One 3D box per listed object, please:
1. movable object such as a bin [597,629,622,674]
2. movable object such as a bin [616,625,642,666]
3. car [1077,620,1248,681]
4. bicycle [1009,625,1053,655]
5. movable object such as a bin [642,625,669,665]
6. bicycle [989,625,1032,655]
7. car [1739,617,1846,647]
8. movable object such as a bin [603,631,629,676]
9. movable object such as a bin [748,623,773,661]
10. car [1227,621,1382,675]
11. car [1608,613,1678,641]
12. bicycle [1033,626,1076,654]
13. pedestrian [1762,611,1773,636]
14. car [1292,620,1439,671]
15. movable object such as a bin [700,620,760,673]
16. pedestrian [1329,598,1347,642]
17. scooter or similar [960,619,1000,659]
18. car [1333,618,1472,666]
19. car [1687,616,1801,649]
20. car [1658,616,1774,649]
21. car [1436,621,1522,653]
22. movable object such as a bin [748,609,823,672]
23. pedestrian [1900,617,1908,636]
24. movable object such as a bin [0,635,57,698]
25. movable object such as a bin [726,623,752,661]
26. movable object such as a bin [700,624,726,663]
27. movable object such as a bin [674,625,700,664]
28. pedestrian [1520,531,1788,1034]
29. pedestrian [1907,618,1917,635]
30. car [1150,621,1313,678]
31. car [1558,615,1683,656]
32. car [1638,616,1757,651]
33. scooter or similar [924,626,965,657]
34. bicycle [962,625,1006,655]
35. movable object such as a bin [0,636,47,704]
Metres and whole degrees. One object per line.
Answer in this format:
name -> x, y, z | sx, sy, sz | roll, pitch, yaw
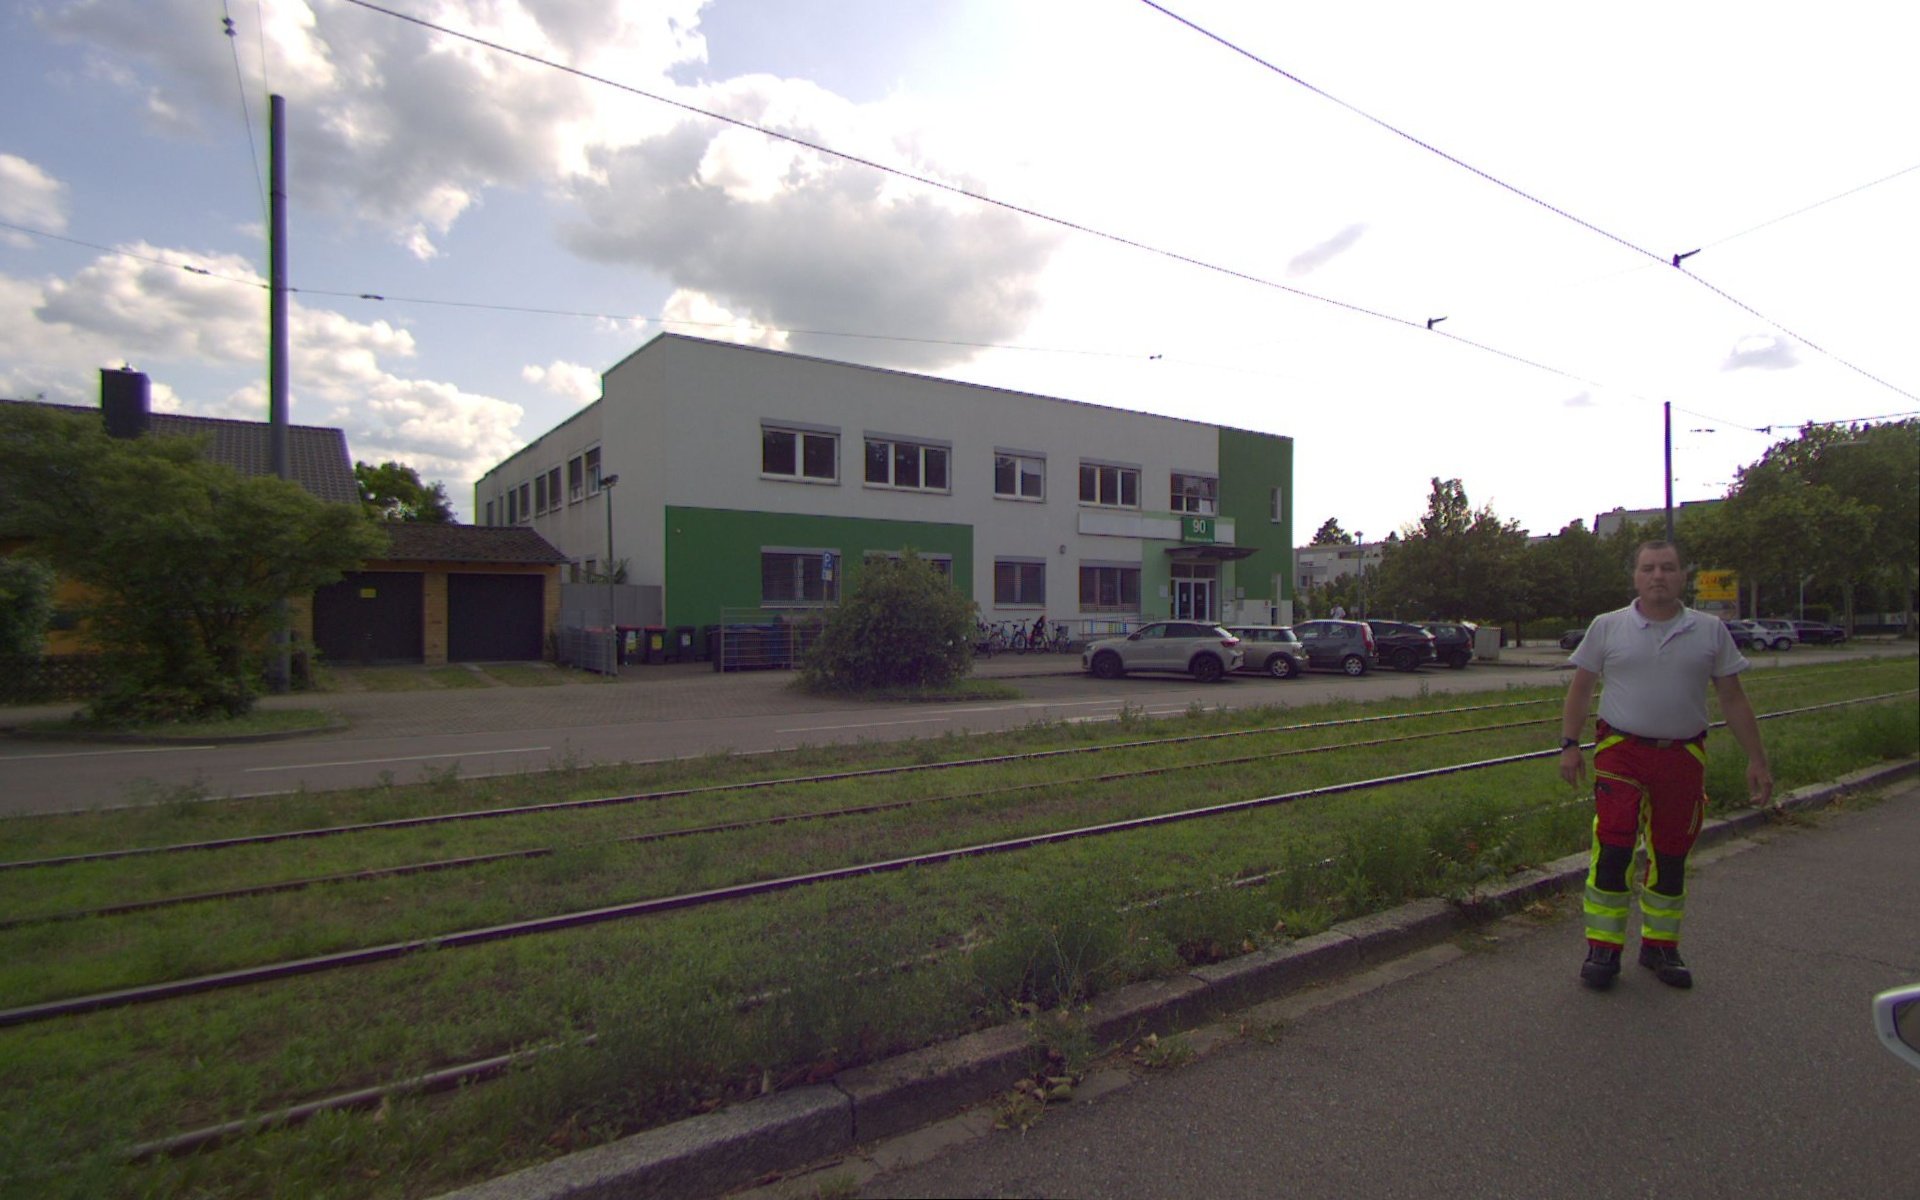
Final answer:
movable object such as a bin -> -8.690, 1.274, 24.930 | 0.474, 1.056, 0.490 | -1, 2, -35
movable object such as a bin -> -8.988, 1.220, 27.277 | 0.558, 1.056, 0.564 | -1, 2, -34
car -> 5.339, 1.281, 26.458 | 4.153, 1.501, 1.883 | -1, -1, 21
bicycle -> 2.437, 1.377, 34.810 | 0.454, 0.911, 1.846 | 1, 0, -34
movable object such as a bin -> -8.404, 1.246, 27.716 | 0.558, 1.056, 0.564 | -1, 2, -34
bicycle -> 1.706, 1.354, 34.301 | 0.454, 0.911, 1.846 | 1, 0, -34
car -> 46.195, 1.747, 55.835 | 4.150, 1.502, 1.884 | 1, 0, 16
movable object such as a bin -> -8.382, 1.294, 24.467 | 0.477, 1.056, 0.501 | -1, 2, -35
movable object such as a bin -> -5.861, 1.226, 29.453 | 0.558, 1.056, 0.564 | -1, 2, -34
car -> 10.226, 1.379, 29.808 | 4.156, 1.501, 1.881 | -1, -1, 26
car -> 47.683, 1.877, 70.217 | 1.961, 1.773, 3.998 | 1, 1, -3
bicycle -> 3.316, 1.395, 35.378 | 0.454, 0.911, 1.846 | 1, 0, -34
pedestrian -> 54.064, 1.568, 67.236 | 0.597, 1.699, 0.462 | 0, -1, -37
car -> 12.740, 1.381, 31.538 | 4.156, 1.501, 1.881 | -1, -1, 26
movable object such as a bin -> -5.864, 1.173, 25.622 | 1.242, 1.251, 1.000 | -1, 2, -33
pedestrian -> 16.302, 0.863, 43.336 | 0.504, 1.852, 0.542 | 0, -1, -37
scooter or similar -> 0.606, 1.208, 31.541 | 1.073, 1.171, 1.305 | 2, 0, -6
car -> 14.816, 1.382, 33.716 | 4.156, 1.501, 1.881 | -1, -1, 26
car -> 39.680, 1.616, 50.972 | 4.151, 1.502, 1.883 | 1, 0, 20
car -> 37.112, 1.567, 49.446 | 4.151, 1.502, 1.883 | 1, 0, 20
car -> 29.132, 2.046, 56.463 | 1.758, 1.586, 3.965 | 2, 0, -32
movable object such as a bin -> -4.597, 1.038, 26.462 | 1.693, 1.540, 1.000 | -1, 2, -33
pedestrian -> 75.390, 2.138, 80.242 | 0.463, 1.493, 0.418 | 0, -1, -40
movable object such as a bin -> -17.715, 1.215, 18.393 | 1.602, 1.107, 1.245 | 0, -1, -36
movable object such as a bin -> -6.406, 1.210, 29.103 | 0.558, 1.056, 0.564 | -1, 2, -34
movable object such as a bin -> -7.044, 1.235, 28.672 | 0.558, 1.056, 0.564 | -1, 2, -34
movable object such as a bin -> -7.680, 1.251, 28.259 | 0.558, 1.056, 0.564 | -1, 2, -34
pedestrian -> 2.770, 0.623, 3.996 | 0.794, 1.709, 0.847 | 1, 0, 40
pedestrian -> 76.969, 2.148, 81.202 | 0.459, 1.433, 0.422 | 0, -1, -10
car -> 7.621, 1.340, 28.249 | 4.156, 1.501, 1.881 | -1, -1, 26
car -> 27.030, 1.433, 41.292 | 4.160, 1.502, 1.879 | 1, 0, 31
car -> 34.857, 1.572, 47.631 | 4.151, 1.502, 1.883 | 1, 0, 20
scooter or similar -> -0.506, 1.342, 32.851 | 0.454, 0.911, 1.724 | 1, 0, -34
bicycle -> 0.797, 1.326, 33.622 | 0.454, 0.911, 1.846 | 1, 0, -34
movable object such as a bin -> -16.836, 1.193, 17.232 | 1.602, 1.115, 1.245 | 0, -1, -36
